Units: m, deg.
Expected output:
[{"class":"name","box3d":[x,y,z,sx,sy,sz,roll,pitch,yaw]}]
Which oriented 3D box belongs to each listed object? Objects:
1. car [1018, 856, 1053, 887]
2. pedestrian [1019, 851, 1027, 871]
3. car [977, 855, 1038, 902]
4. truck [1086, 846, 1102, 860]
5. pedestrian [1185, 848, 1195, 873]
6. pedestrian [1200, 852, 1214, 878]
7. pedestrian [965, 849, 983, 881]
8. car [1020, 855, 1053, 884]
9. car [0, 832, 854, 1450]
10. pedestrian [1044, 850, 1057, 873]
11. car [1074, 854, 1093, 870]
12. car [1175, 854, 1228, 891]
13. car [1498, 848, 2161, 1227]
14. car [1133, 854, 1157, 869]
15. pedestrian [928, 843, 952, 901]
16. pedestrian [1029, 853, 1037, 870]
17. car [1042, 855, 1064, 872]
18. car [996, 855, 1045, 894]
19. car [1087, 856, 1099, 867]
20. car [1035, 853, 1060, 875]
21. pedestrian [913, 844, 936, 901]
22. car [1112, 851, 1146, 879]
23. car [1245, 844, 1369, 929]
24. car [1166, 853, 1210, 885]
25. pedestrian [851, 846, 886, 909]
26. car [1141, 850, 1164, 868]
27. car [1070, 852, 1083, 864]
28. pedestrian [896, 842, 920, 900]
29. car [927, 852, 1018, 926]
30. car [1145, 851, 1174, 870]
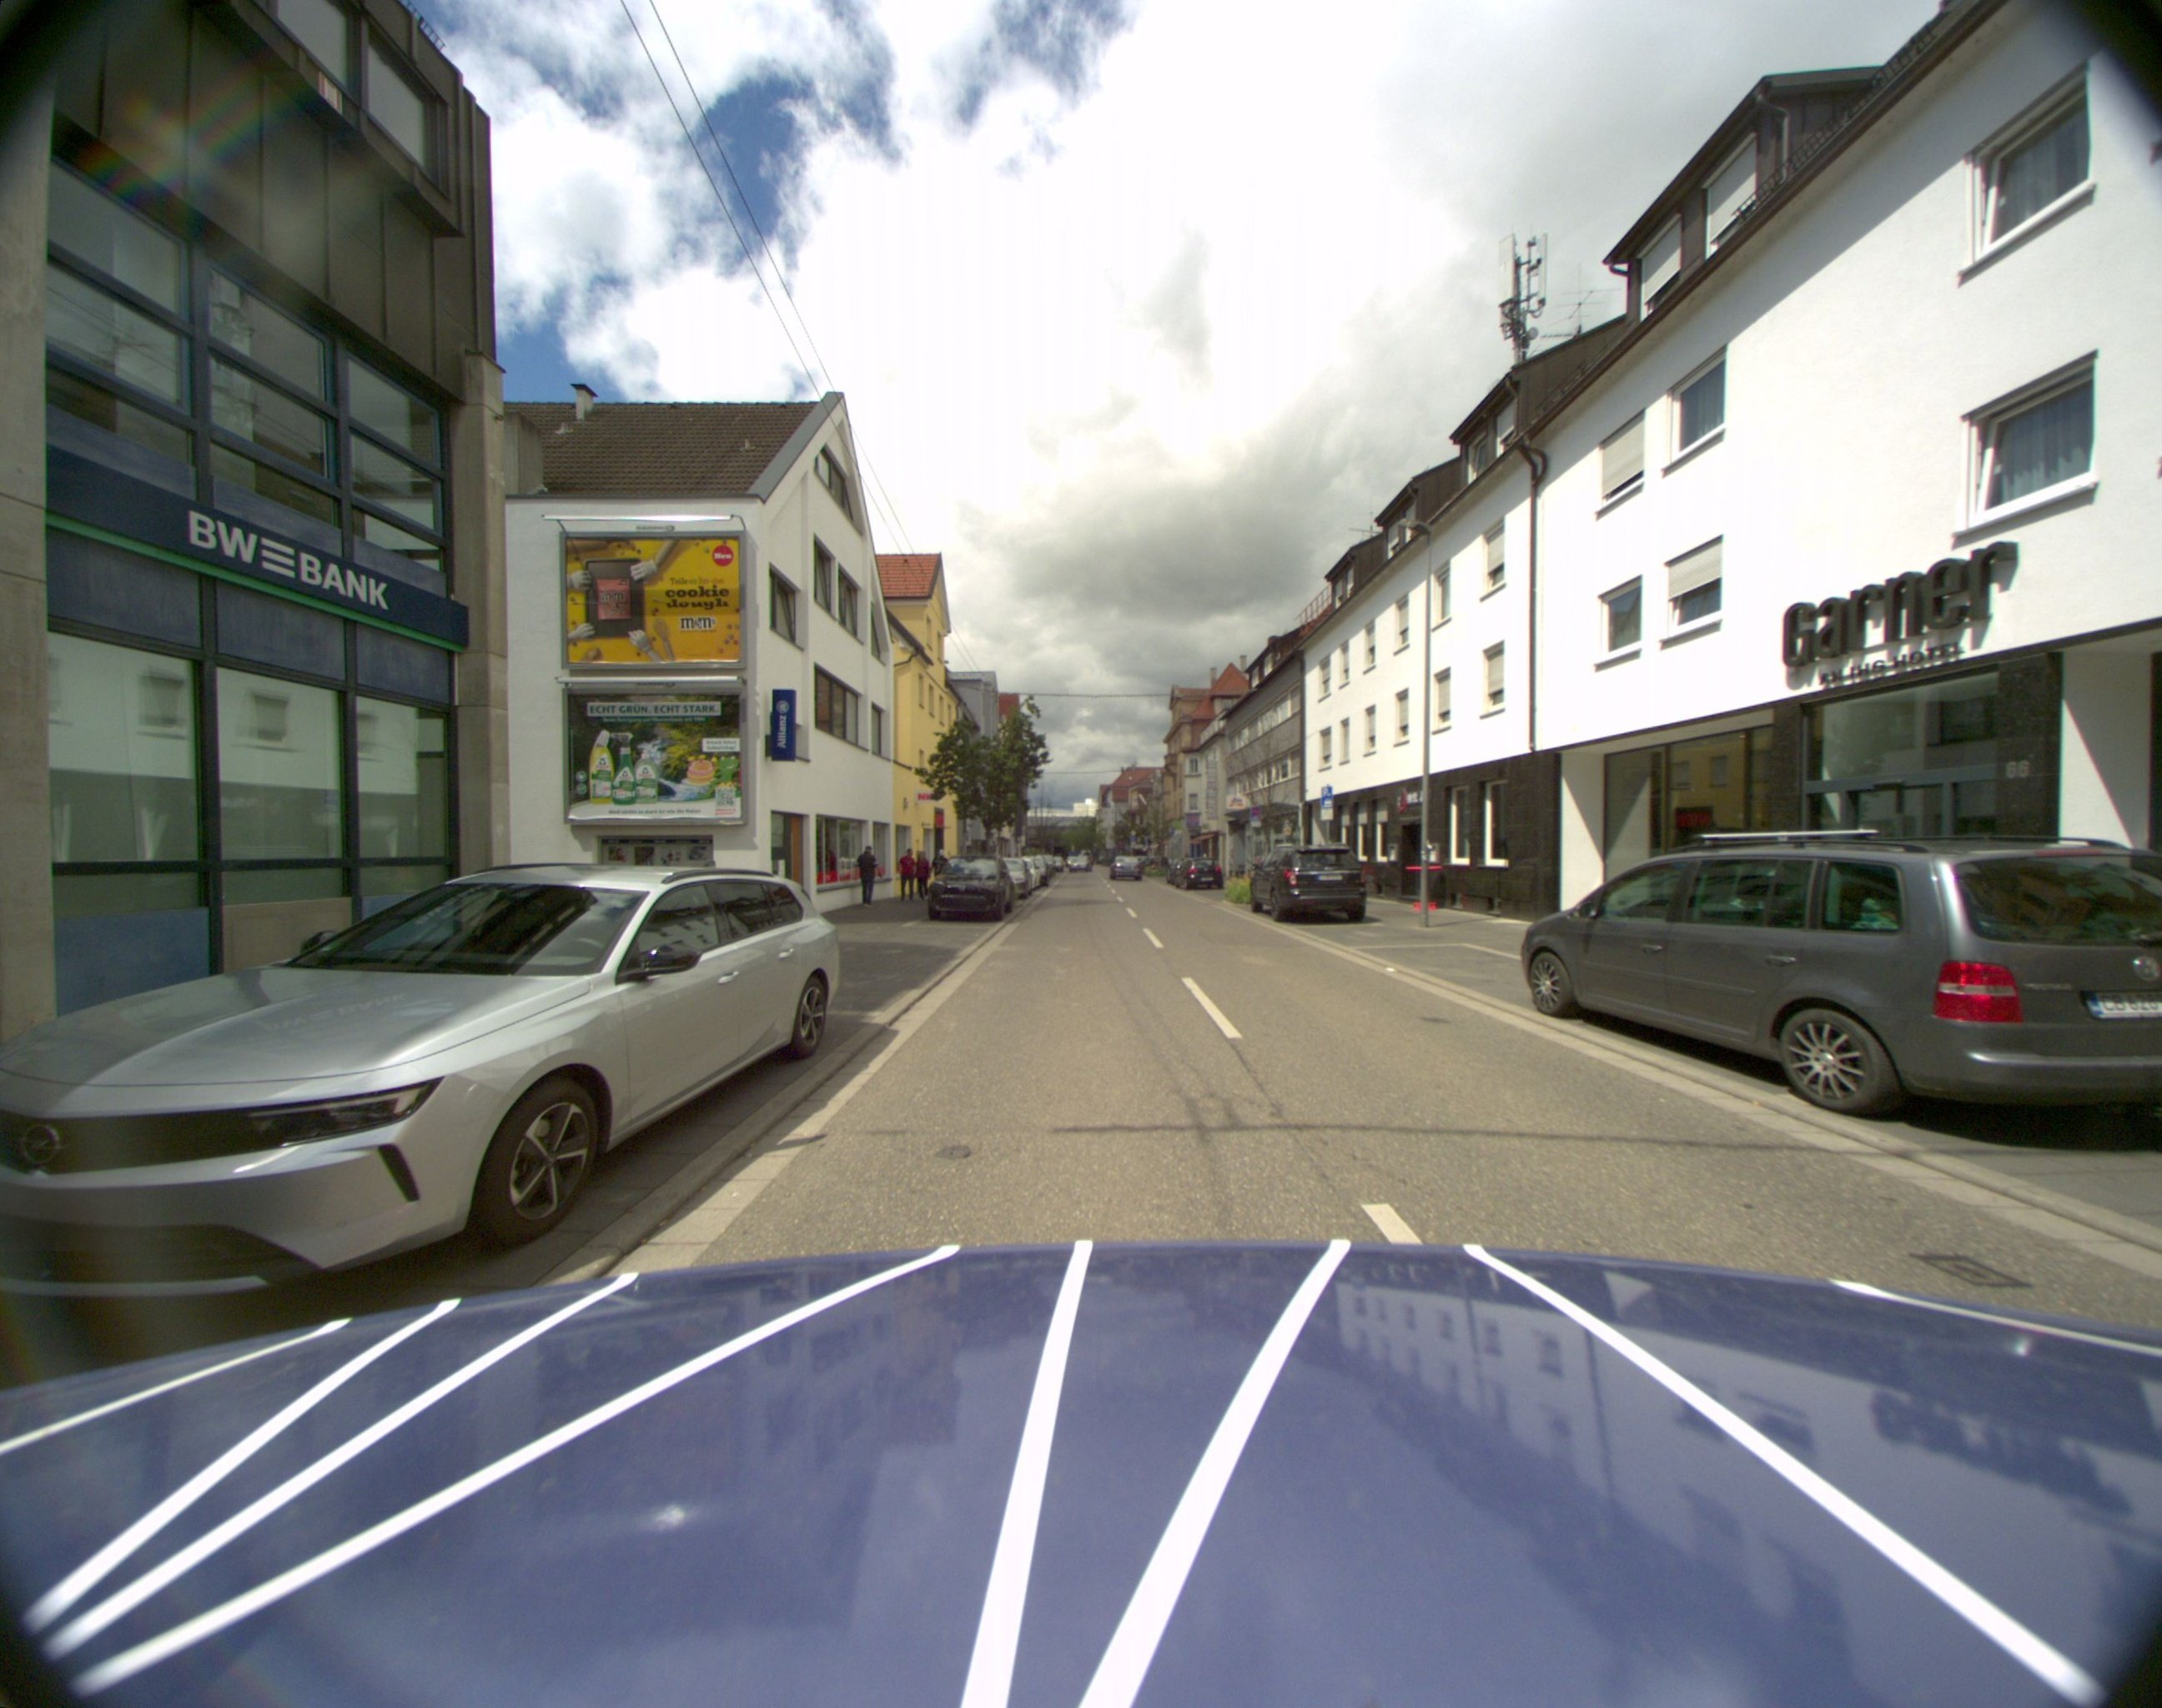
[{"class":"car","box3d":[-2.330,0.904,39.834,1.694,1.463,4.523,-2,-1,-2]},{"class":"pedestrian","box3d":[-4.838,0.585,63.409,0.537,1.708,0.606,-2,1,-1]},{"class":"car","box3d":[-2.644,0.838,28.223,1.725,1.467,4.353,-2,1,1]},{"class":"truck","box3d":[2.352,-0.204,135.815,2.112,2.292,6.472,-2,1,-5]},{"class":"pedestrian","box3d":[7.697,0.435,53.827,0.549,1.747,0.728,-2,1,-3]},{"class":"pedestrian","box3d":[7.891,0.664,47.647,0.733,1.609,0.651,-2,1,-4]},{"class":"pedestrian","box3d":[-5.339,0.550,37.927,0.751,1.544,0.726,0,1,0]},{"class":"car","box3d":[-2.615,0.886,45.326,1.693,1.565,3.755,-2,1,-1]},{"class":"car","box3d":[-2.905,0.750,4.254,1.725,1.568,4.426,-3,3,2]},{"class":"pedestrian","box3d":[-2.494,0.633,62.003,0.978,1.853,0.864,1,1,-1]},{"class":"car","box3d":[0.272,0.768,72.800,1.724,1.517,3.598,0,0,1]},{"class":"car","box3d":[5.575,0.816,35.626,1.795,1.495,4.177,-2,1,0]},{"class":"car","box3d":[5.310,0.871,5.869,1.820,1.745,4.463,-2,1,2]},{"class":"car","box3d":[6.386,0.743,76.463,1.851,1.390,4.035,-2,1,-3]},{"class":"pedestrian","box3d":[-4.527,0.575,24.494,0.589,1.830,0.576,-2,1,1]},{"class":"pedestrian","box3d":[-4.807,0.778,76.013,0.745,1.708,0.655,0,1,-1]},{"class":"car","box3d":[-2.660,0.914,72.549,1.711,1.412,4.318,-2,1,3]},{"class":"car","box3d":[-2.629,0.854,34.126,1.634,1.467,4.957,-2,1,2]},{"class":"car","box3d":[1.818,1.145,117.067,1.536,1.521,3.757,-2,1,-4]},{"class":"car","box3d":[-2.568,0.743,59.283,1.804,1.594,4.203,1,0,-1]},{"class":"pedestrian","box3d":[-5.204,0.606,25.279,0.589,1.830,0.576,-2,1,1]},{"class":"car","box3d":[3.014,0.669,48.703,1.910,1.554,4.645,1,1,1]},{"class":"car","box3d":[5.336,0.664,18.569,1.820,1.745,4.669,-2,1,3]},{"class":"car","box3d":[5.780,0.783,41.630,1.794,1.504,4.712,-2,1,1]},{"class":"pedestrian","box3d":[-6.067,0.657,21.717,0.743,1.727,0.757,1,1,1]},{"class":"car","box3d":[6.060,0.390,64.707,1.590,1.406,3.668,-2,1,1]},{"class":"car","box3d":[-0.658,0.561,105.274,1.804,1.594,4.203,1,0,-1]},{"class":"pedestrian","box3d":[-5.567,0.547,24.465,0.589,1.830,0.576,-2,1,1]},{"class":"car","box3d":[-2.621,0.792,19.220,1.726,1.568,4.108,-2,1,-1]},{"class":"car","box3d":[6.215,0.480,60.365,1.602,1.437,3.554,0,0,-7]}]
